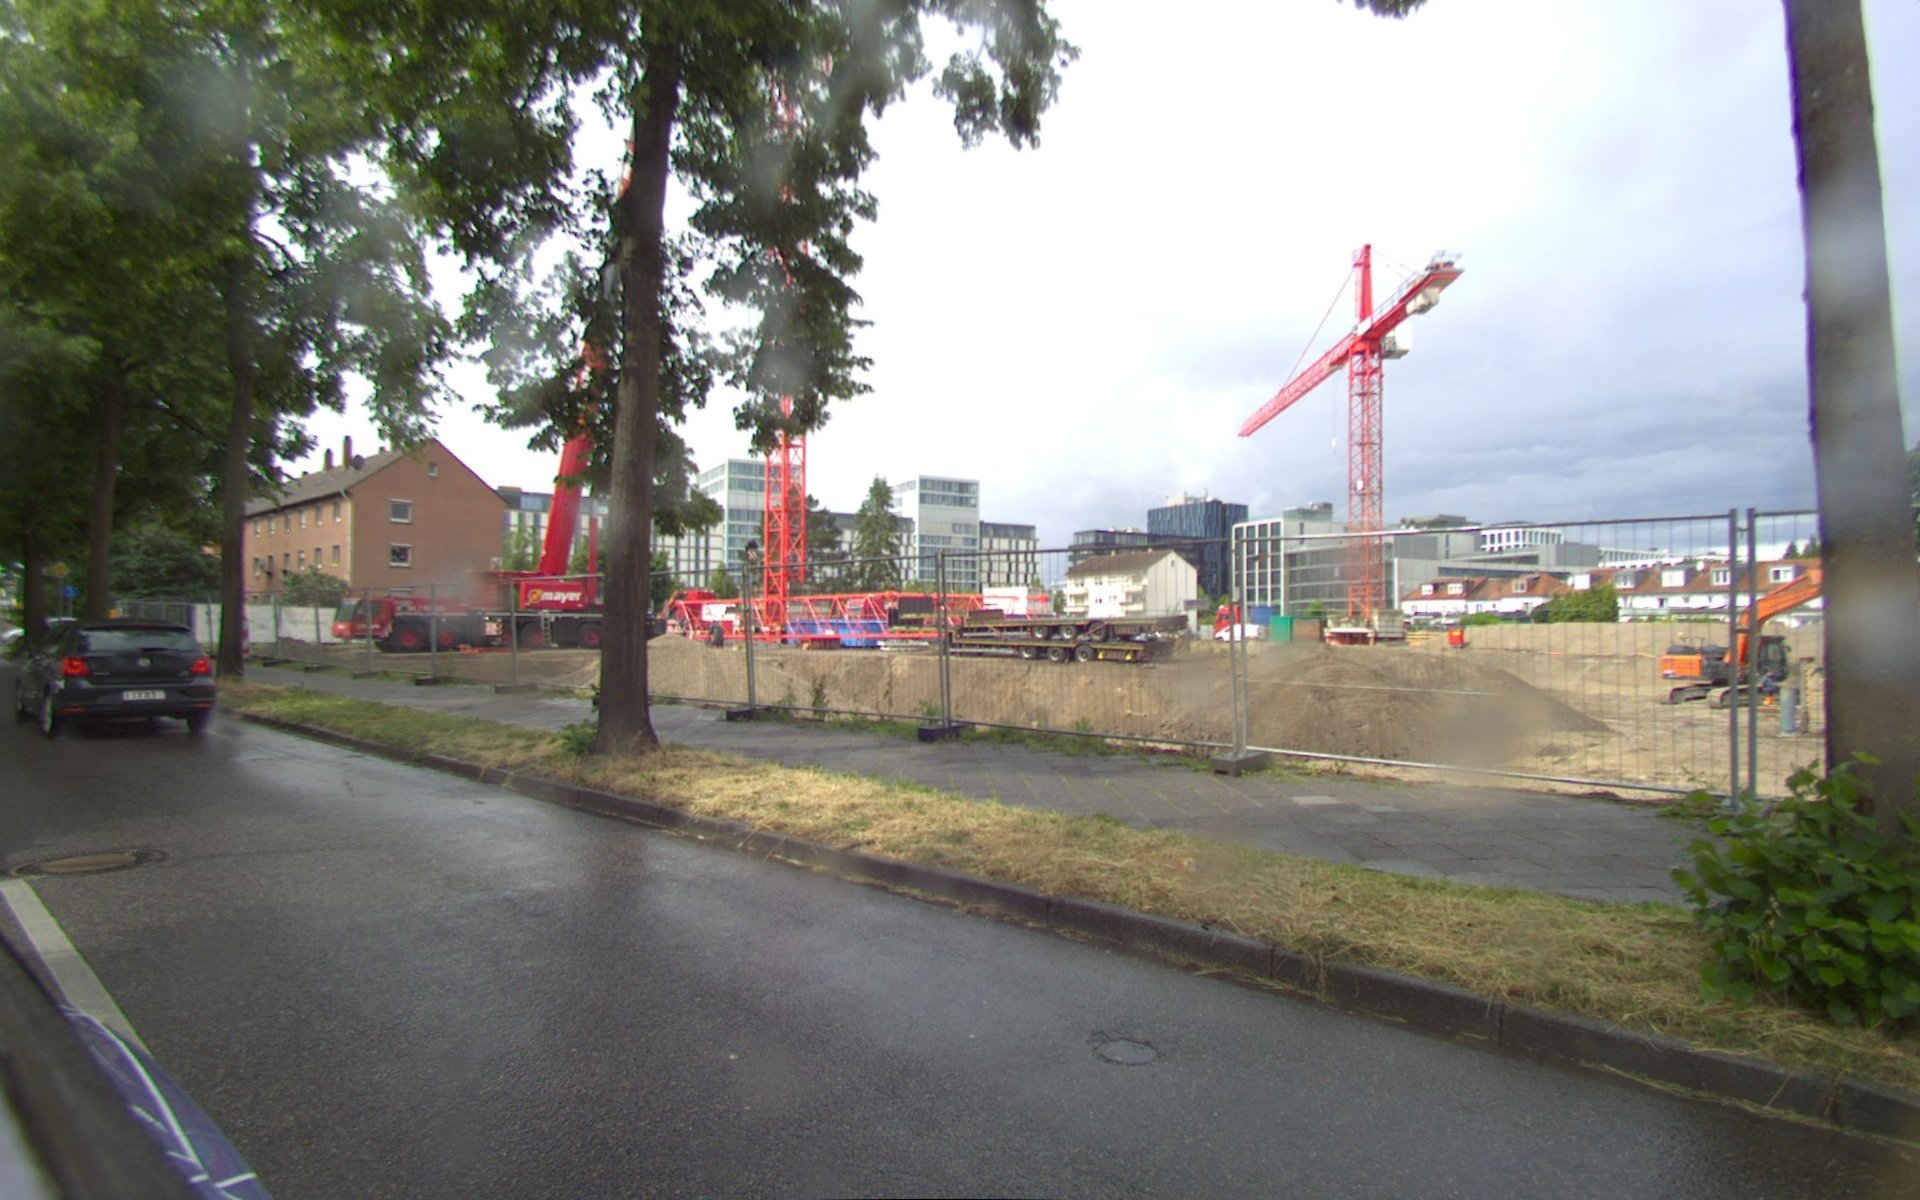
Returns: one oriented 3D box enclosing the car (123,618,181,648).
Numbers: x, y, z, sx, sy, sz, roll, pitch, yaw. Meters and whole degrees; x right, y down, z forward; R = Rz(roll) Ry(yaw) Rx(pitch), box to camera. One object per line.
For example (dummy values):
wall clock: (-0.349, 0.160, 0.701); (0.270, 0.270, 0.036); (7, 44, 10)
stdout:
car: (-44.082, 1.778, 55.173); (3.996, 1.541, 1.672); (0, 0, 39)

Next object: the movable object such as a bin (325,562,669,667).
movable object such as a bin: (-22.596, 0.552, 51.075); (3.102, 4.592, 15.727); (0, 0, 44)

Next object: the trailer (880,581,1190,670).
trailer: (2.688, 0.960, 43.492); (14.302, 3.257, 2.930); (0, 2, 41)

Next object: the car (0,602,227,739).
car: (-11.377, 0.858, 13.480); (3.980, 1.552, 1.794); (-2, -2, 42)

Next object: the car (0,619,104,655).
car: (-43.571, 1.753, 48.464); (1.699, 1.563, 3.816); (0, 0, 44)

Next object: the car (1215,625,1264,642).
car: (28.805, 3.448, 104.504); (4.582, 1.529, 1.797); (0, 0, 44)

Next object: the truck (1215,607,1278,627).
truck: (30.985, 1.770, 109.462); (6.292, 2.095, 1.884); (0, 0, 25)
